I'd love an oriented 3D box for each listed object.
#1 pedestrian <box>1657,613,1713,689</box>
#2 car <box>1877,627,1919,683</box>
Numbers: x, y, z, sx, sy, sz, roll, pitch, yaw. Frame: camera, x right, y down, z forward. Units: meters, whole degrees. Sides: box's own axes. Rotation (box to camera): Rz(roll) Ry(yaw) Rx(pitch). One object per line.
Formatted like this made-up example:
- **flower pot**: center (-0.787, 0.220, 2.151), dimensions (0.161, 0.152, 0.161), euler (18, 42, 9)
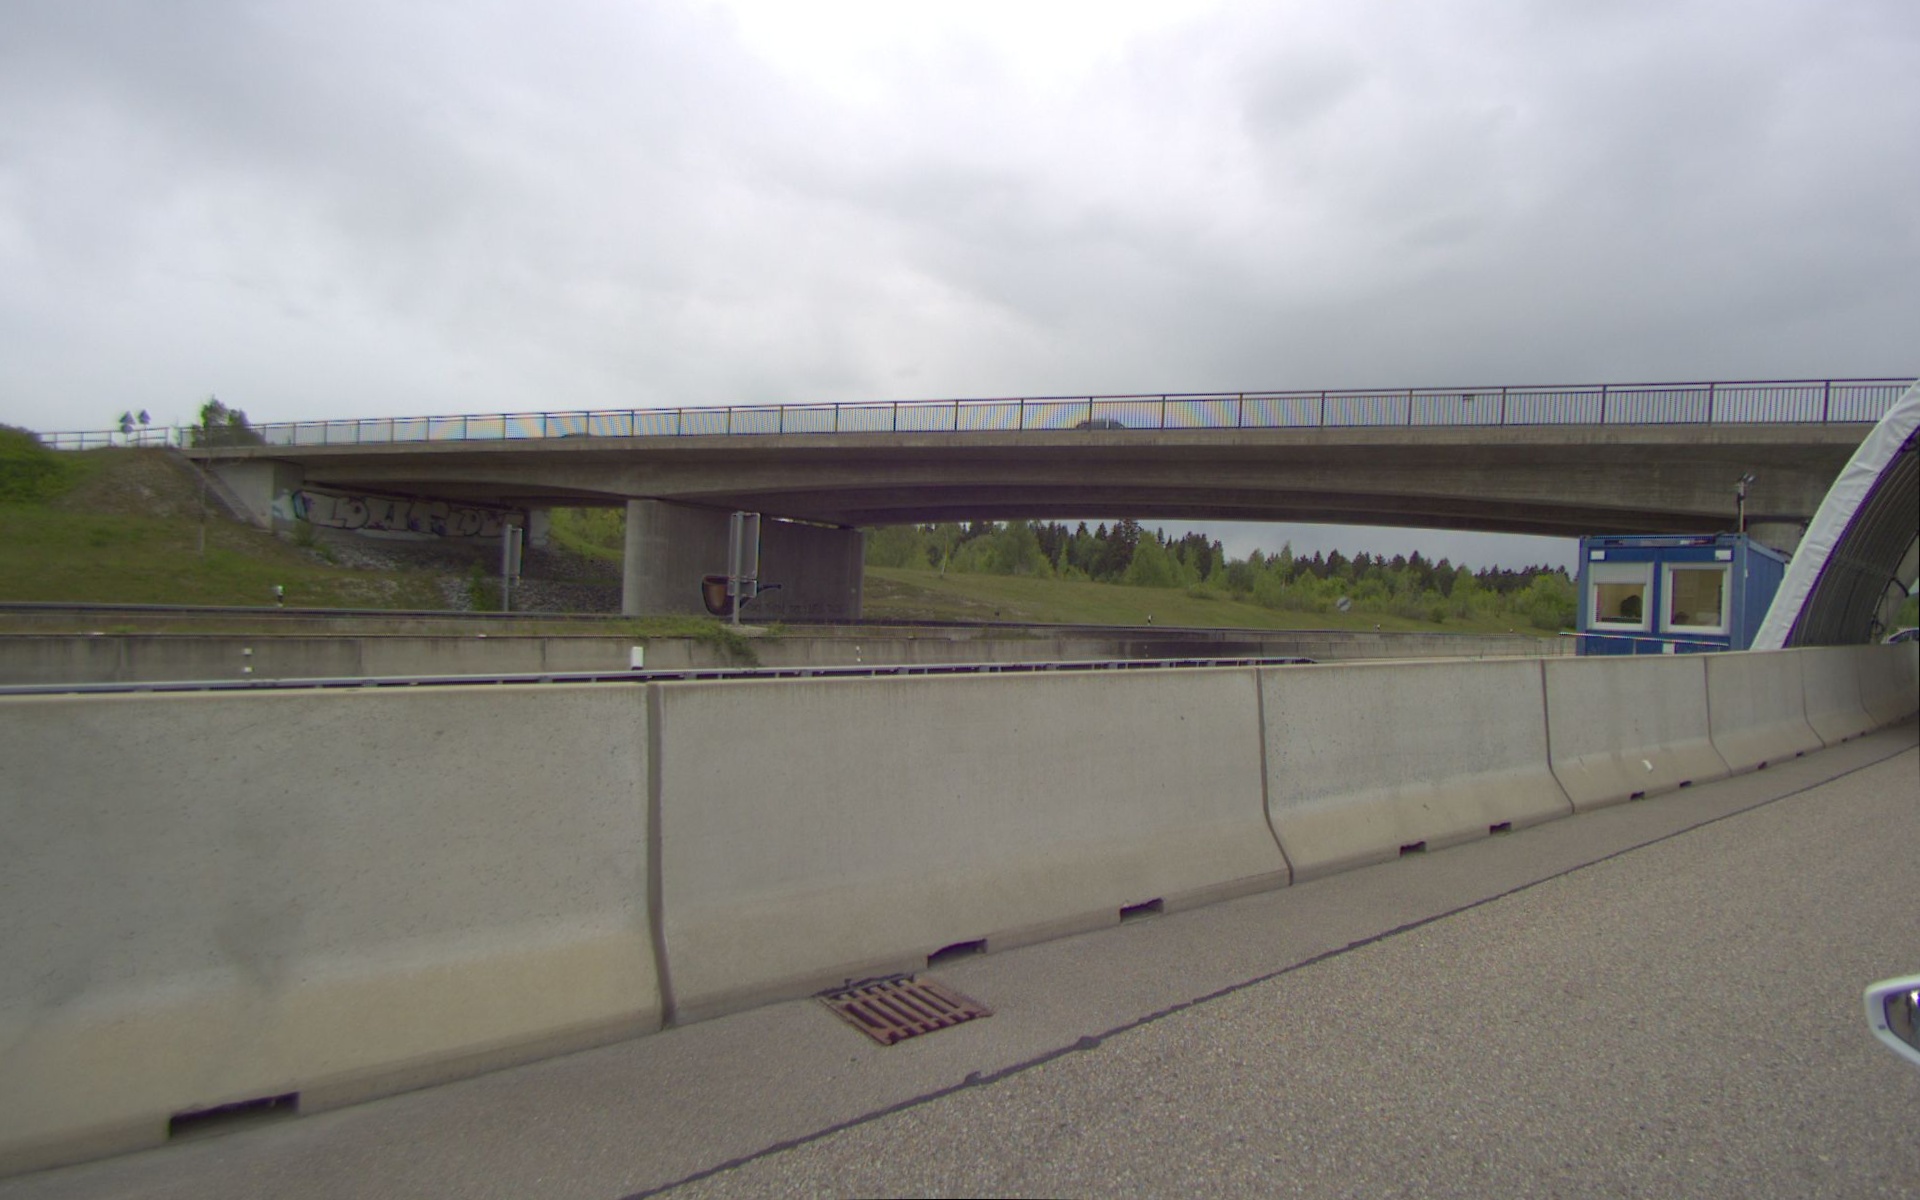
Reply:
- **pedestrian**: center (13.645, 0.957, 18.916), dimensions (0.618, 1.391, 0.609), euler (2, -1, -21)
- **car**: center (36.685, 2.060, 36.418), dimensions (1.814, 2.040, 4.797), euler (2, -1, -22)
